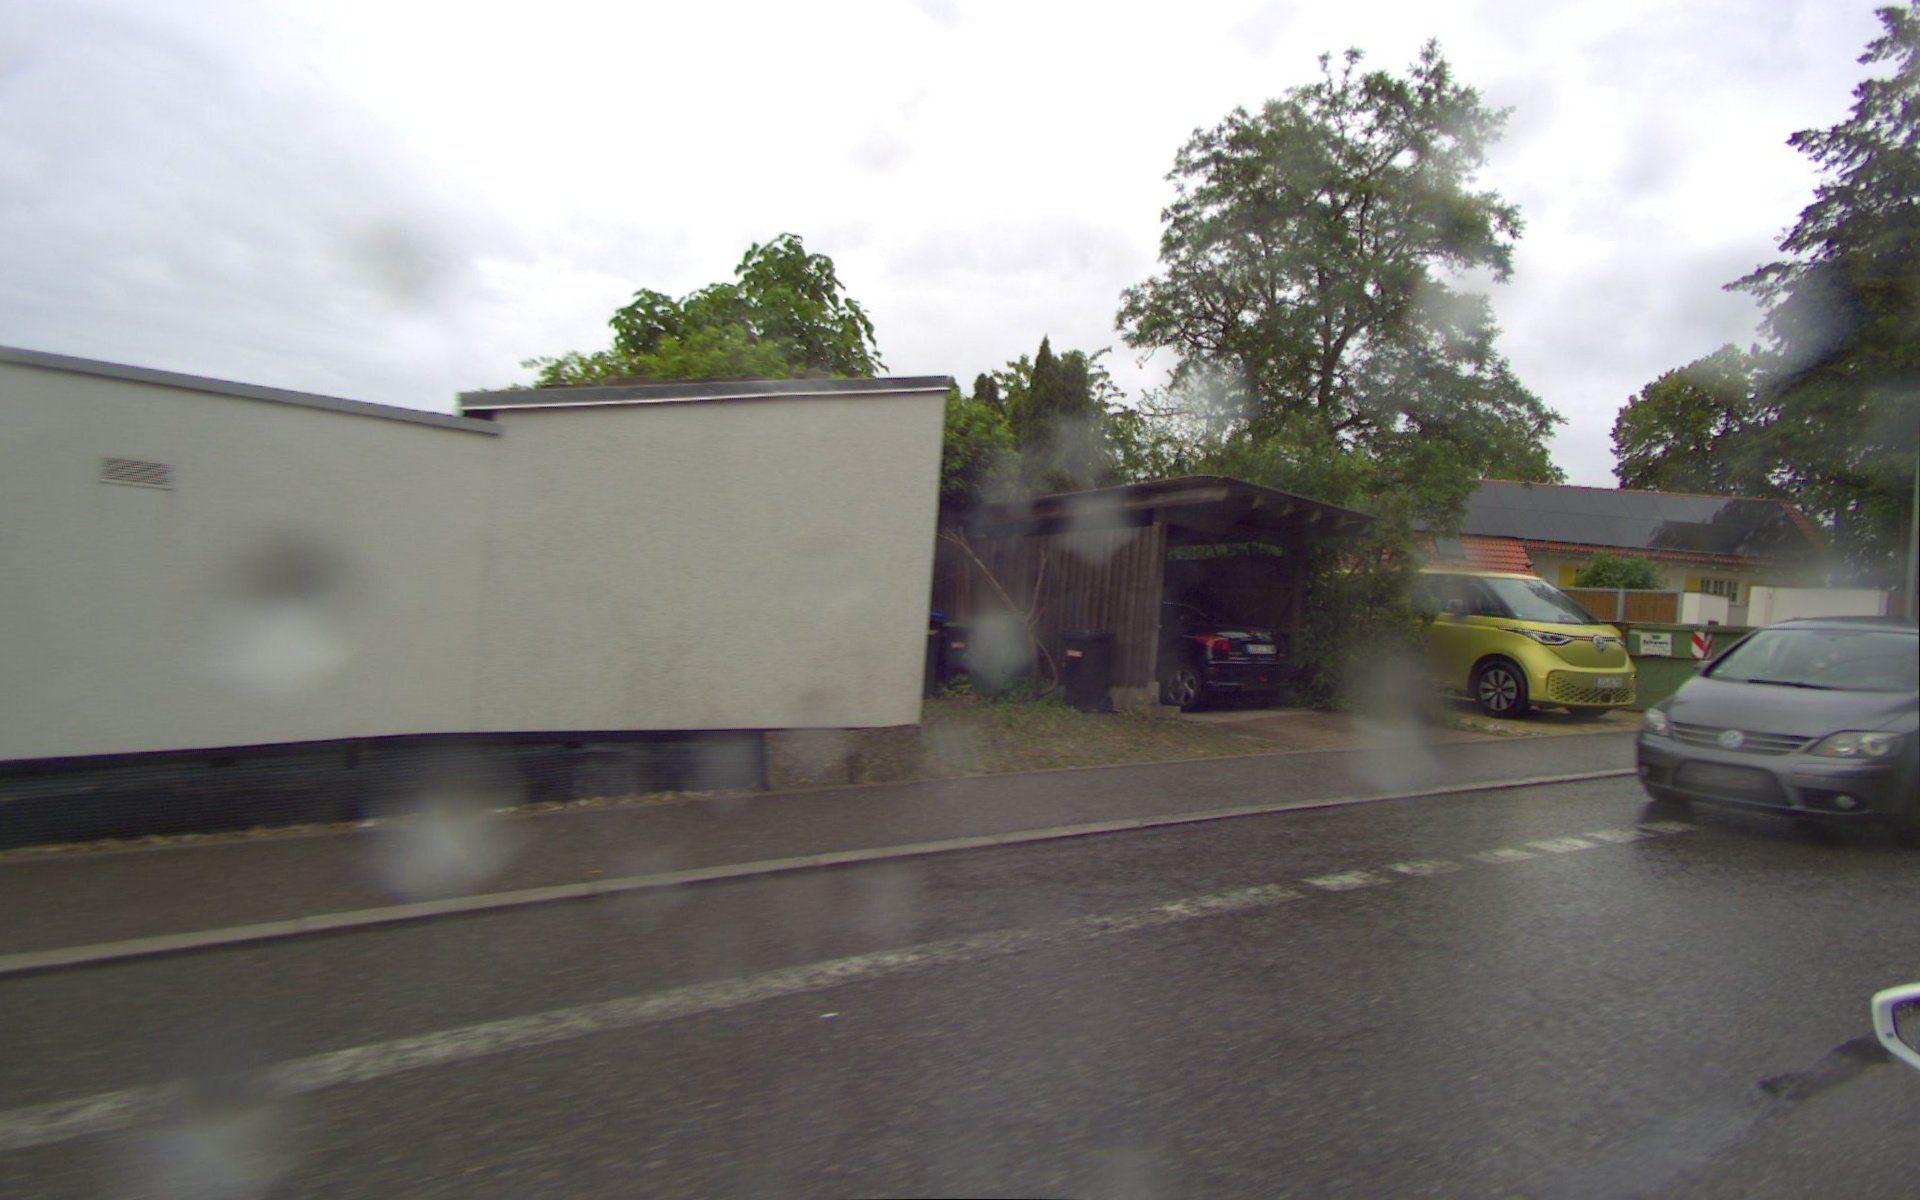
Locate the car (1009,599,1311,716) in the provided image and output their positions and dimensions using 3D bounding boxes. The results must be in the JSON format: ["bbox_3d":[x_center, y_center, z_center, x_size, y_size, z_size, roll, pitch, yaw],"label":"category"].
[{"bbox_3d":[2.519,0.671,13.564,1.771,1.320,3.973,1,0,-32],"label":"car"}]

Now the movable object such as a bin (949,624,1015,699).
[{"bbox_3d":[0.265,0.734,12.156,0.507,0.868,0.612,1,0,-40],"label":"movable object such as a bin"}]

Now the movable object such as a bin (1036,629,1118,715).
[{"bbox_3d":[1.325,0.792,11.366,0.615,0.916,0.679,1,0,-41],"label":"movable object such as a bin"}]

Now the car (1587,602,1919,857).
[{"bbox_3d":[7.350,0.872,8.121,4.560,1.532,1.826,2,1,-28],"label":"car"}]

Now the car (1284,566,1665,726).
[{"bbox_3d":[7.009,0.521,14.277,2.061,1.884,4.489,1,1,-25],"label":"car"}]

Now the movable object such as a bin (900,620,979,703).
[{"bbox_3d":[-0.244,0.705,11.746,0.681,0.916,0.612,1,0,-40],"label":"movable object such as a bin"}]
